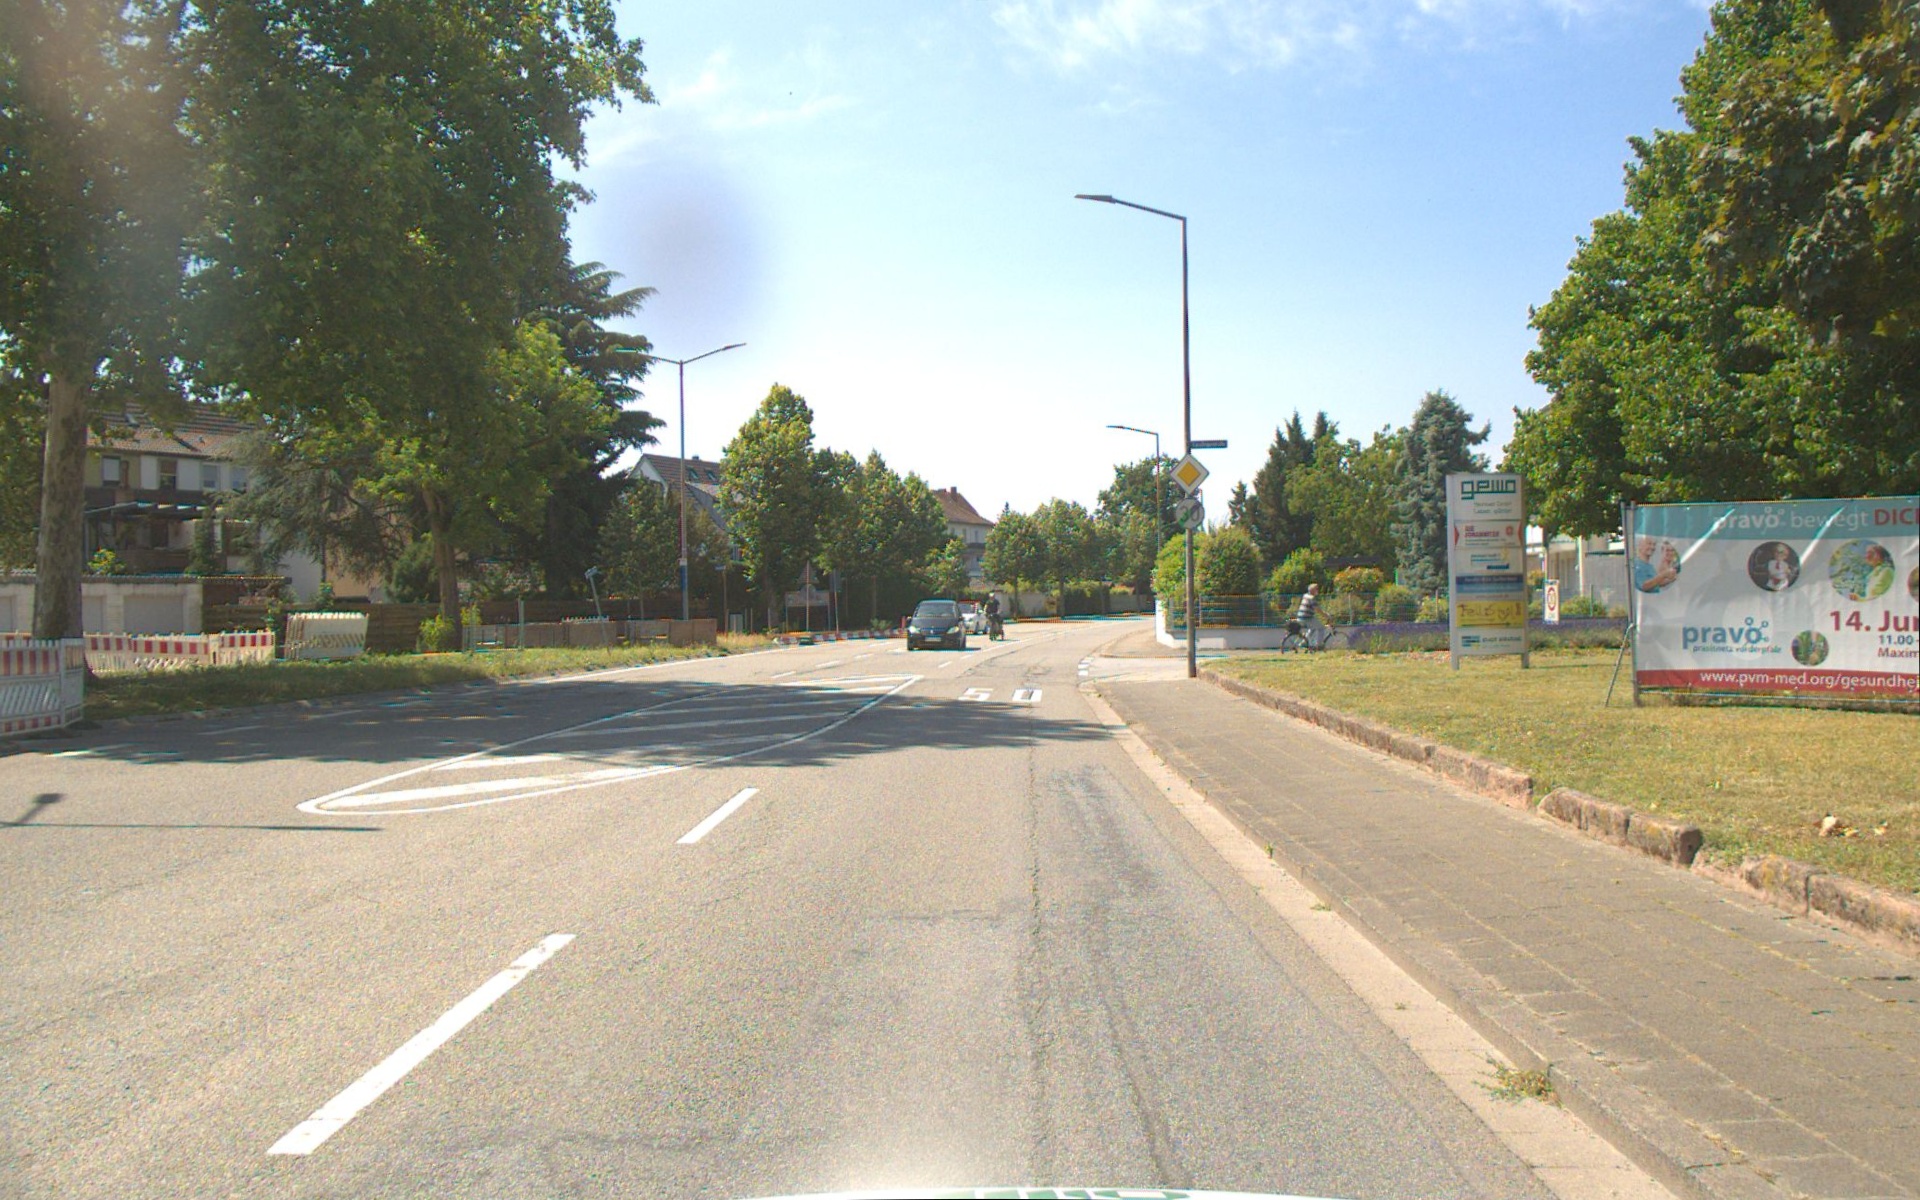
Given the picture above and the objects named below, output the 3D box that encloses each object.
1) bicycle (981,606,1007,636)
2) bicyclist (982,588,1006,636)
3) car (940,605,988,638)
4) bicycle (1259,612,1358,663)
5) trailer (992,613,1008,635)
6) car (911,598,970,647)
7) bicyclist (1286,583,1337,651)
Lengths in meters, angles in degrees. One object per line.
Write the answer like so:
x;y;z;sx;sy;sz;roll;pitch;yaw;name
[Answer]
1.368;0.819;66.003;0.832;1.186;1.978;-1;0;6;bicycle
1.358;0.461;65.954;0.828;1.898;0.977;-1;0;6;bicyclist
0.216;1.001;78.679;1.662;1.536;3.462;0;0;10;car
8.169;0.876;38.832;2.098;1.122;0.815;-2;0;-7;bicycle
1.642;0.975;67.551;0.558;0.871;1.133;-2;0;6;trailer
-0.609;0.711;54.571;1.689;1.559;3.832;0;0;3;car
8.244;0.399;38.848;0.908;1.557;0.855;-2;0;-7;bicyclist
